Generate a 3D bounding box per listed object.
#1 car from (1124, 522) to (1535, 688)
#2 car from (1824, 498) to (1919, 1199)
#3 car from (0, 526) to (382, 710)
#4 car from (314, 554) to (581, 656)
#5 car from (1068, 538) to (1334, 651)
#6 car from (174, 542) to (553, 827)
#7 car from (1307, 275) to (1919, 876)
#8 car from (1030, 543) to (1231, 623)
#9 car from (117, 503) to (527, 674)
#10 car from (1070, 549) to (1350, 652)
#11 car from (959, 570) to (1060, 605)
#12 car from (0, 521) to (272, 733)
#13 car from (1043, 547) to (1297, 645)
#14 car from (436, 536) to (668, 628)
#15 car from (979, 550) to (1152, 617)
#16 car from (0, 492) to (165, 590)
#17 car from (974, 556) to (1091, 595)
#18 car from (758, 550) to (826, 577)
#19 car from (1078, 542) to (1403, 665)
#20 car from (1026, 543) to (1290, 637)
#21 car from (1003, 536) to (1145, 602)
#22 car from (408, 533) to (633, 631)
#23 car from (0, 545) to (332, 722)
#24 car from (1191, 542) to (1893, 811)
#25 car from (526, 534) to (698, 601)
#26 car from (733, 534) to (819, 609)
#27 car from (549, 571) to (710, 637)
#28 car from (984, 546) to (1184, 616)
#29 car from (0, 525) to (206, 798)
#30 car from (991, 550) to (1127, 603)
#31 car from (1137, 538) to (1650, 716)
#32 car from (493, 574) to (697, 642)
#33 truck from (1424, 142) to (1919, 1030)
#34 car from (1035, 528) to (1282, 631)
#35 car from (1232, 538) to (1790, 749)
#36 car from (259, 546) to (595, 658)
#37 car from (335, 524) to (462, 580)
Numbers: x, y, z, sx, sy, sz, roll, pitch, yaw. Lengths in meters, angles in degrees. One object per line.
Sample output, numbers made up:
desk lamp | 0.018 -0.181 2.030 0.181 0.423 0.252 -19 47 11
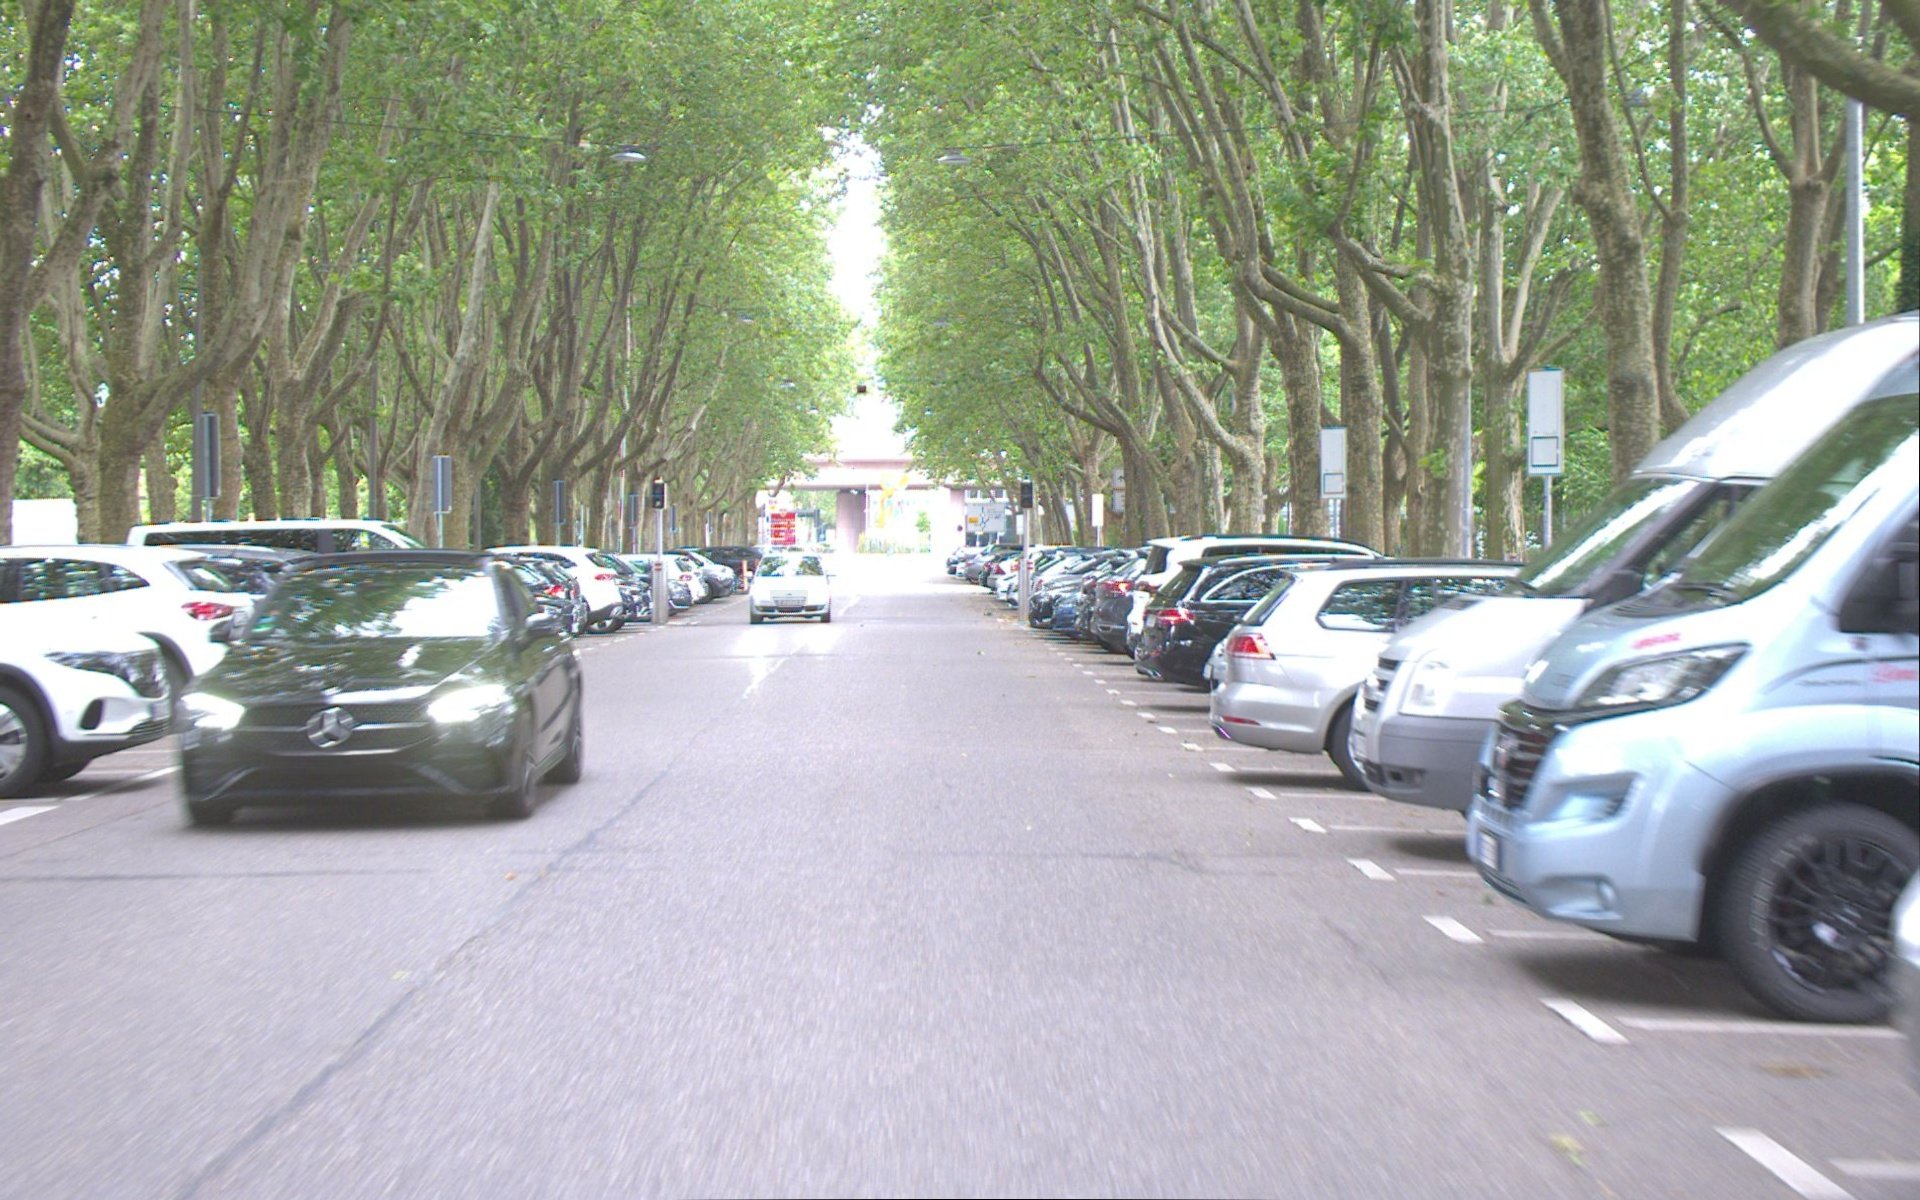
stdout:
car | 4.151 0.045 39.059 4.384 1.749 1.801 1 1 -2
car | 4.130 0.680 6.838 4.340 1.612 1.803 2 1 2
car | -8.151 0.176 34.560 4.340 1.662 2.000 -2 1 -2
car | -8.028 0.065 54.031 3.995 1.466 1.537 -1 1 -3
car | 3.620 -0.094 52.111 3.826 1.602 1.694 1 1 -2
car | -3.232 0.391 19.299 1.654 1.359 4.113 -2 1 -4
car | 4.448 -0.087 16.774 5.228 2.680 1.957 2 1 0
car | 3.299 -0.333 66.911 3.775 1.465 1.667 1 1 -1
car | -8.153 -0.157 44.250 4.893 2.012 1.920 -2 1 -1
car | 3.564 -0.004 49.505 3.826 1.384 1.694 1 1 -2
car | 2.116 -0.540 146.055 4.176 1.437 1.731 1 1 4
car | -8.202 0.254 29.103 4.340 1.662 2.000 -2 1 -2
car | 3.298 -0.079 54.462 3.826 1.450 1.694 1 1 -2
car | -7.612 -0.353 64.366 4.068 1.602 1.799 -1 1 2
car | 2.649 -0.436 87.025 4.166 1.591 1.855 1 1 -4
car | -25.094 -1.641 94.915 5.786 2.588 2.000 1 1 0
car | 2.941 -0.984 138.689 4.575 1.481 2.000 1 1 4
car | -9.839 -2.147 200.904 3.814 1.510 1.686 1 1 3
car | 3.589 0.027 44.408 3.986 1.481 1.694 1 1 -2
car | 3.258 -0.177 57.029 4.211 1.446 1.611 1 1 -2
car | 3.038 -0.835 91.968 3.645 1.661 1.519 1 1 -4
car | -7.817 -0.337 61.417 3.826 1.622 1.953 -1 1 -3
car | -7.954 0.312 31.682 3.986 1.470 1.843 -2 1 -3
car | 3.604 0.458 21.842 4.120 1.424 1.703 3 0 1
car | -7.961 -0.749 78.938 3.826 1.425 1.695 -1 1 -3
car | -3.758 -0.600 70.745 1.689 1.466 3.840 -1 1 -2
car | -8.096 0.094 84.407 3.826 1.492 1.695 -1 1 -3
car | 2.744 -0.422 76.722 4.296 1.465 1.624 1 1 -4
car | -7.081 0.398 21.299 4.379 1.591 2.000 -2 1 -2
car | 2.781 -0.677 97.099 3.645 1.419 1.986 1 1 -4
car | 3.995 0.236 32.163 4.501 1.521 1.703 1 1 -2
car | -8.085 0.163 76.436 4.400 1.360 1.695 -1 1 -3
truck | 4.900 -0.005 11.649 6.293 2.706 2.098 1 1 -1
car | 3.391 -0.363 59.221 4.113 1.664 1.694 1 1 0
car | 4.289 0.321 27.203 4.044 1.521 1.815 1 1 -2
car | -7.606 0.016 49.289 4.449 1.447 1.774 -2 1 4
car | -23.557 -2.027 144.296 5.077 2.224 1.536 1 1 -2
